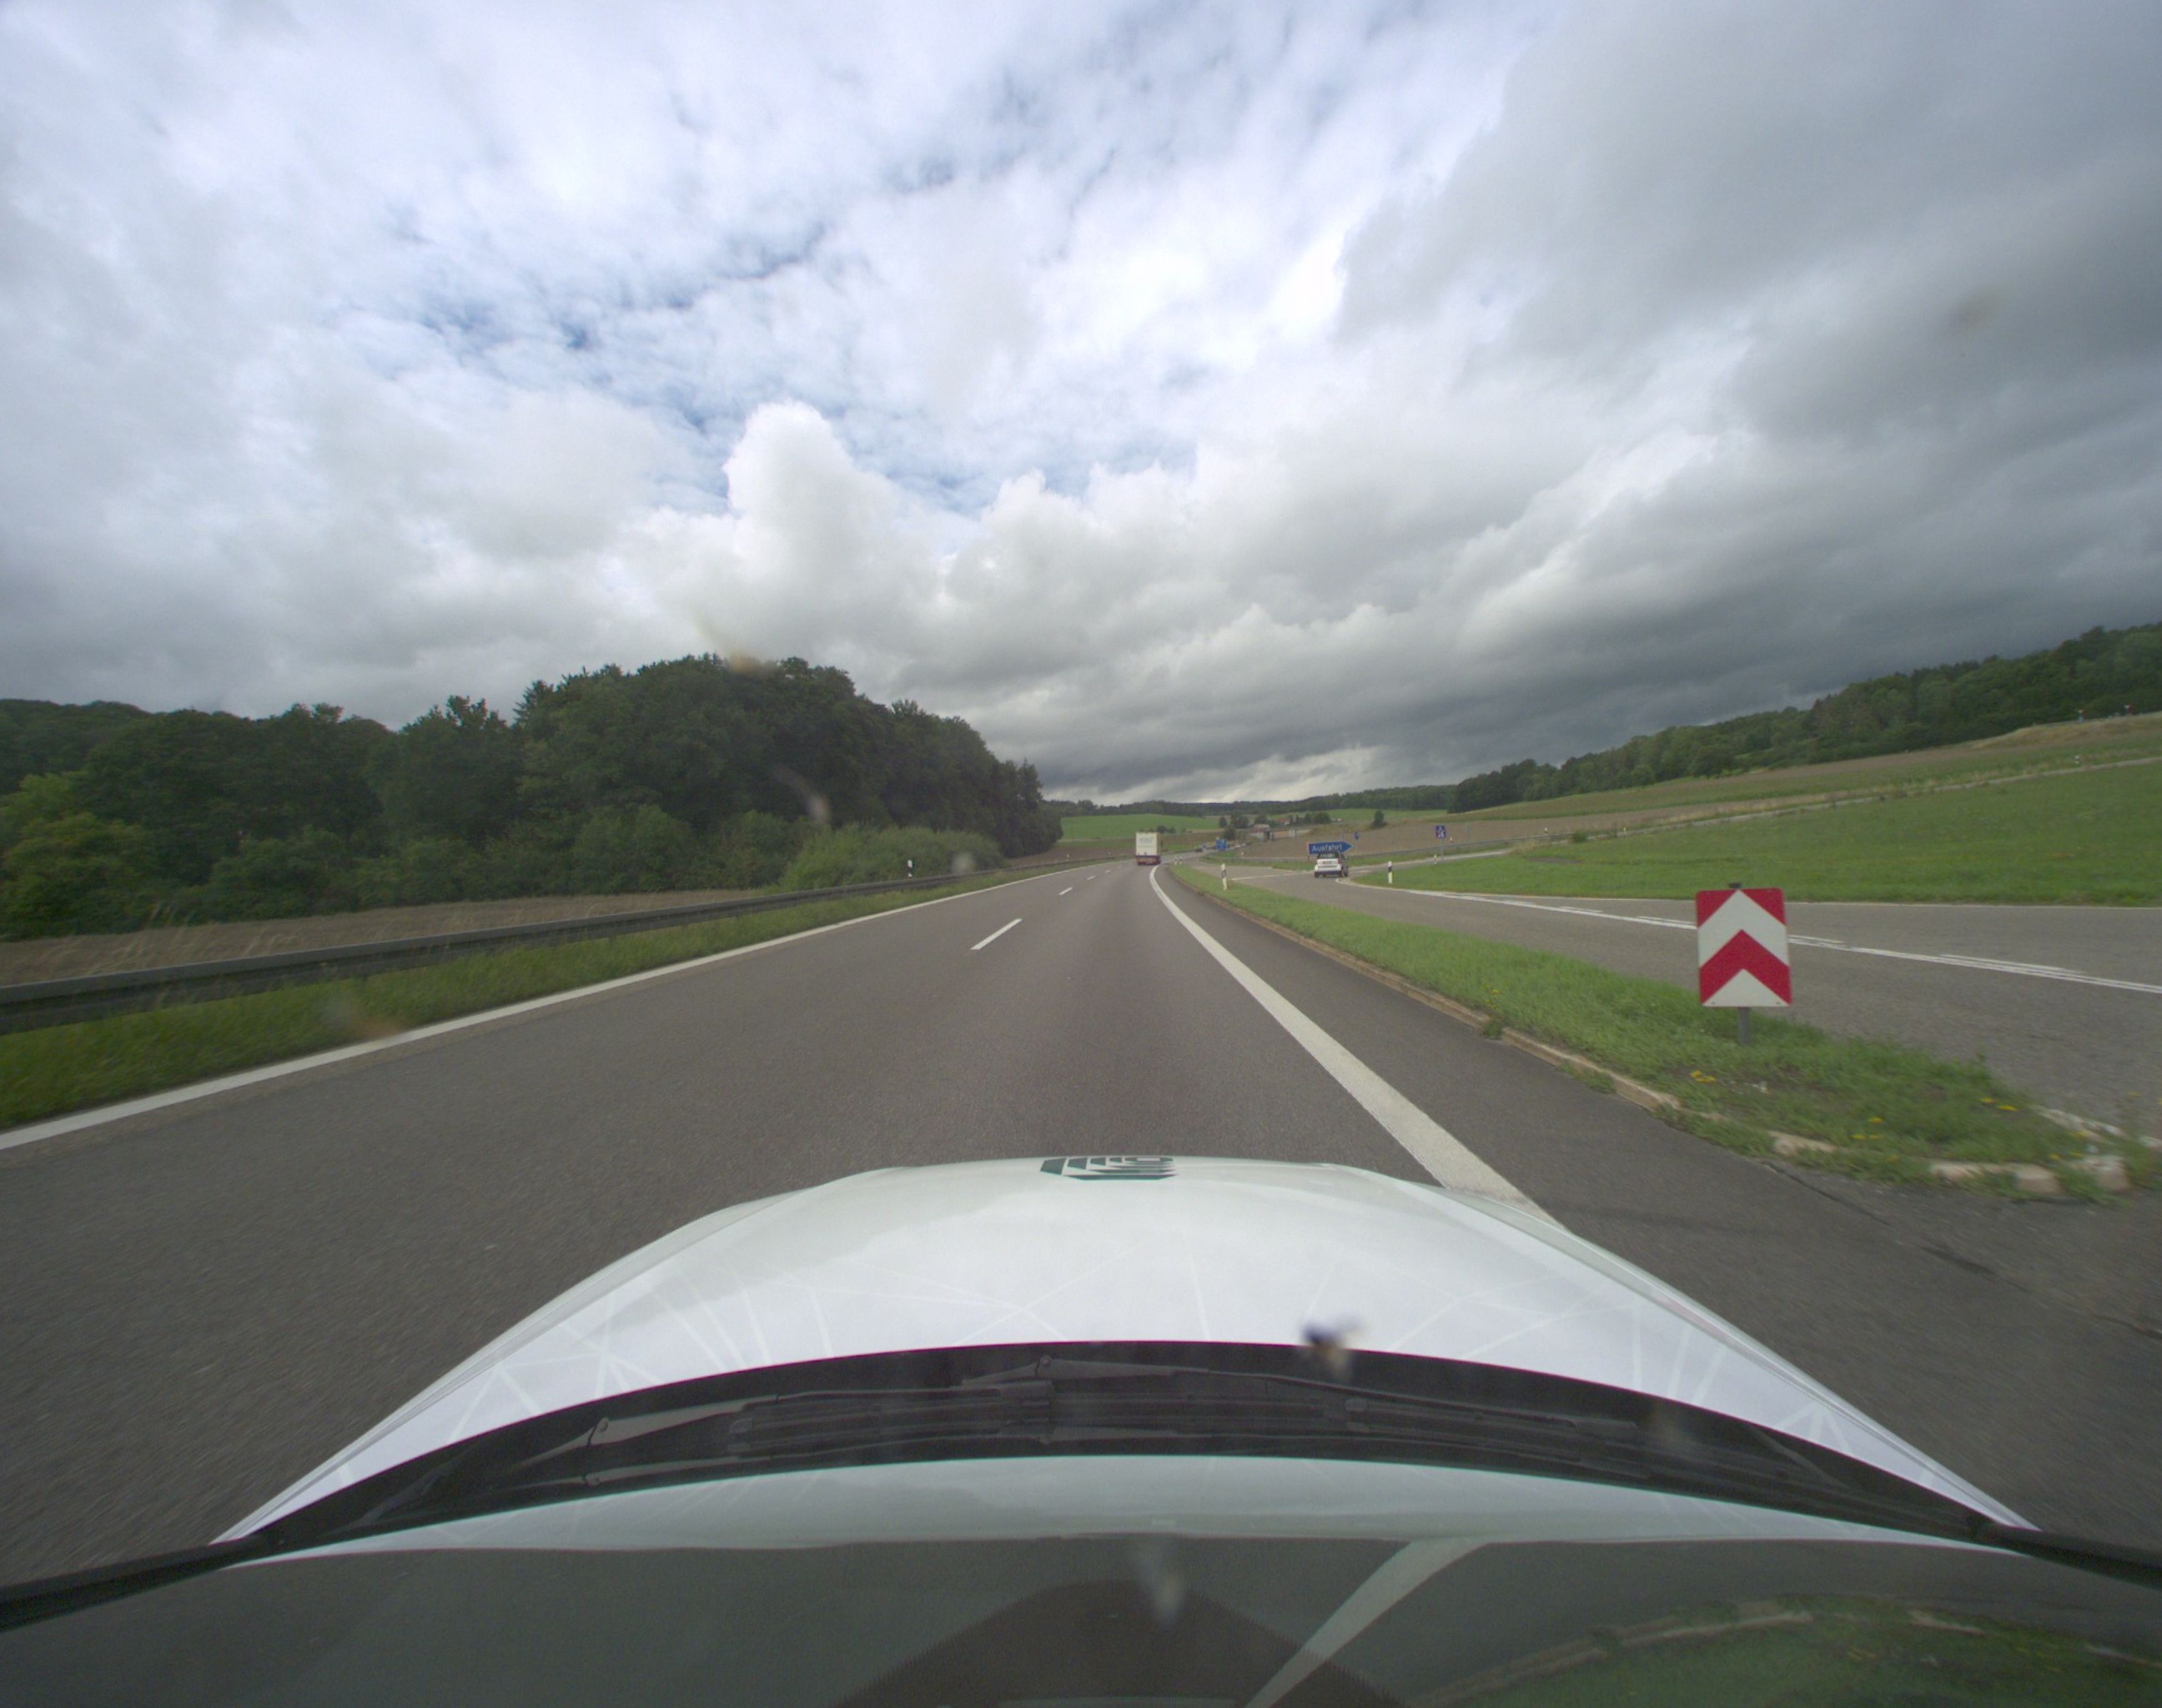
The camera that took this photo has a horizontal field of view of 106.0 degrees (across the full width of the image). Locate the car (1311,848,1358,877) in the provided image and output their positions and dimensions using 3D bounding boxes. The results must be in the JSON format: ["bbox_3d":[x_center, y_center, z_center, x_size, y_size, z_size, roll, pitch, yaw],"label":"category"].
[{"bbox_3d":[14.881,0.468,47.669,1.760,1.552,4.025,-2,0,30],"label":"car"}]

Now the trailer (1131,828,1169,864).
[{"bbox_3d":[8.859,-1.013,102.670,3.784,4.174,14.842,-1,0,8],"label":"trailer"}]

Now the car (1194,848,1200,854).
[{"bbox_3d":[36.651,-0.961,256.819,1.891,1.795,4.010,-2,-2,10],"label":"car"}]

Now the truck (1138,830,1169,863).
[{"bbox_3d":[9.830,-0.995,109.971,3.767,4.131,8.282,1,0,7],"label":"truck"}]
